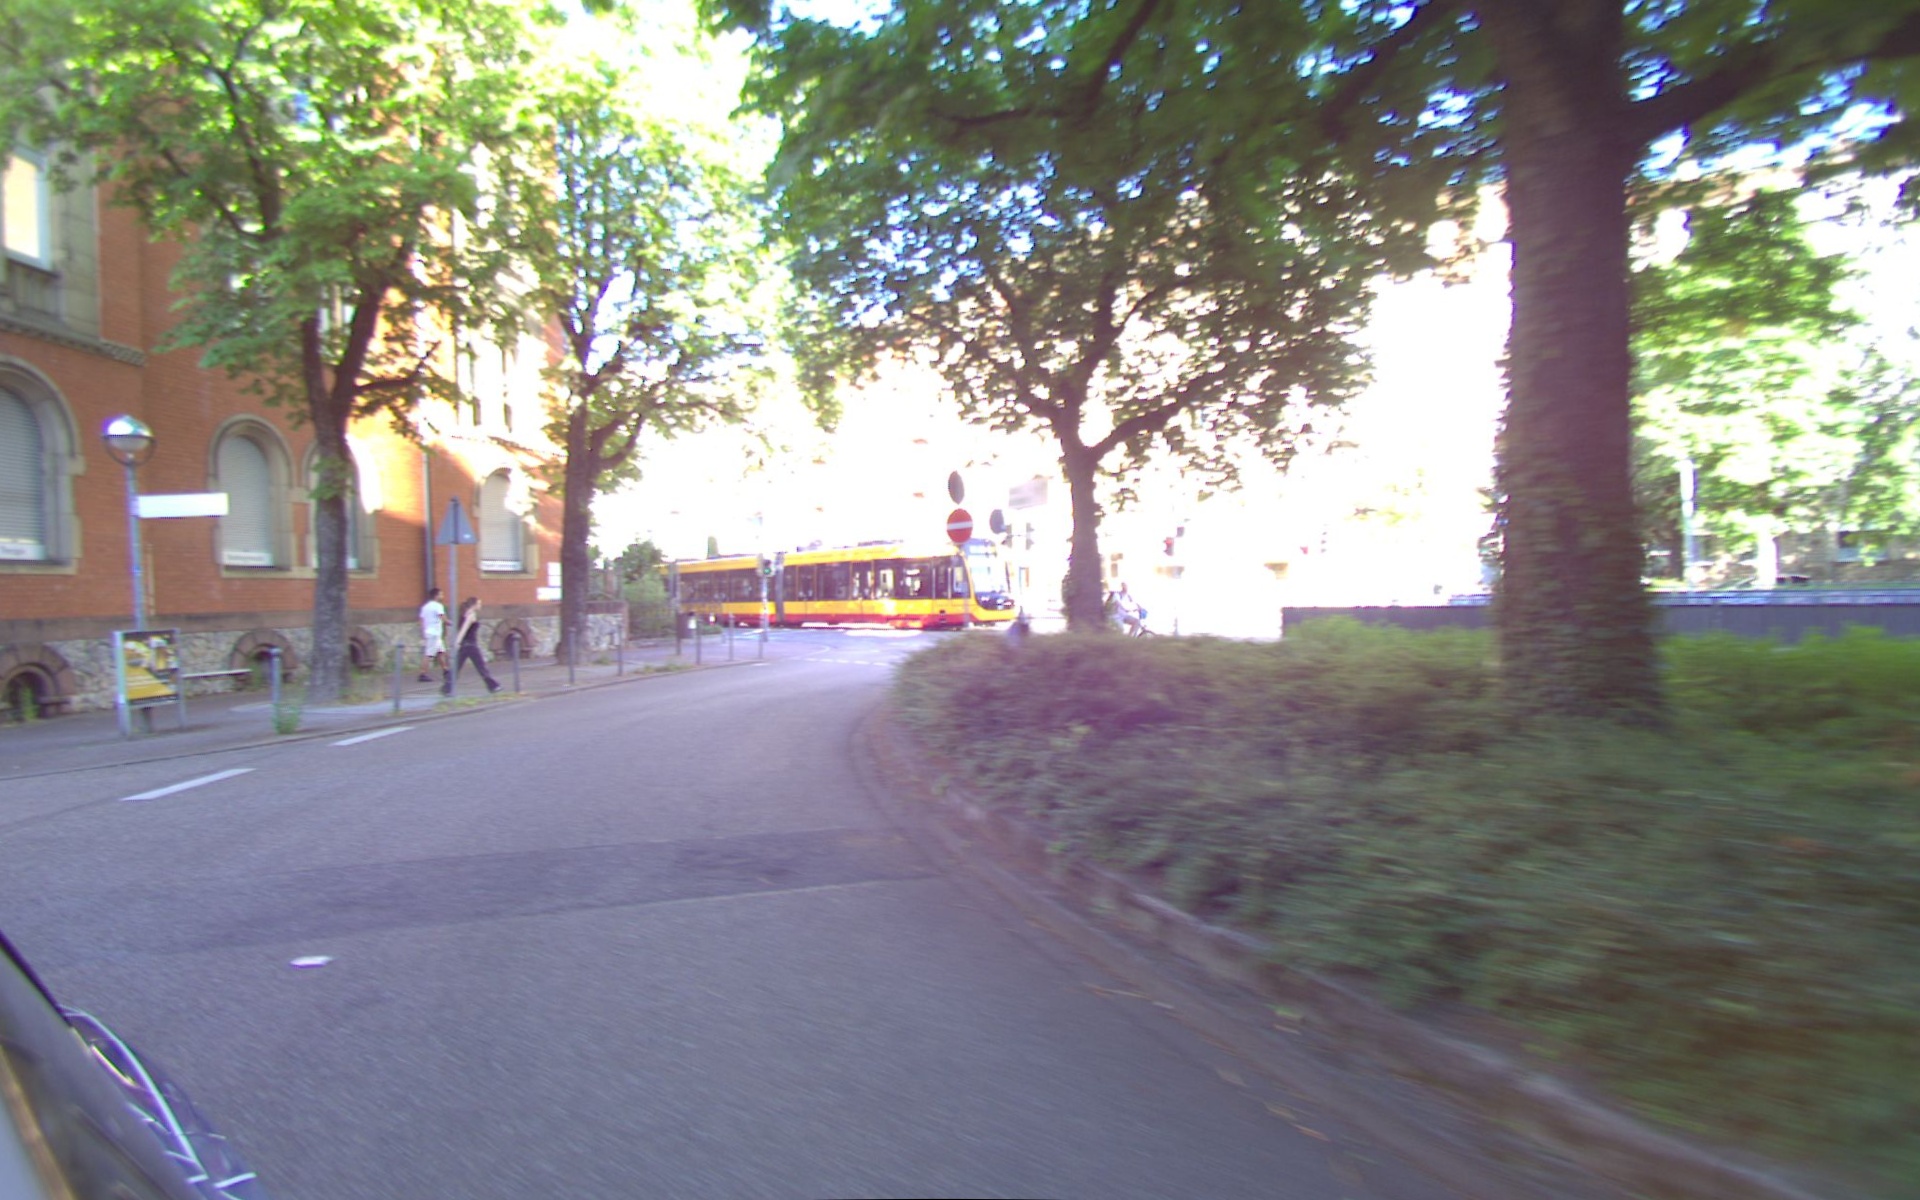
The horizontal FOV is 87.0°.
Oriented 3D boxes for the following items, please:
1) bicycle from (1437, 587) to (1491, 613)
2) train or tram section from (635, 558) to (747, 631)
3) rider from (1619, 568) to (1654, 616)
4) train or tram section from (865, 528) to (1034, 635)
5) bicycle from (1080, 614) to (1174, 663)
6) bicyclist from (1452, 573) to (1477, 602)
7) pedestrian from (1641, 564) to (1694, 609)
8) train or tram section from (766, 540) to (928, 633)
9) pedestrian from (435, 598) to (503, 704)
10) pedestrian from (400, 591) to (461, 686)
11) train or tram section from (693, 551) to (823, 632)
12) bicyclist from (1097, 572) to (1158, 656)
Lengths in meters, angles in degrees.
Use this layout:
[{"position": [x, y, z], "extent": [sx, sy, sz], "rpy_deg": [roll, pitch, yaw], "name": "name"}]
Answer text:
[{"position": [19.479, 0.012, 39.119], "extent": [1.722, 0.953, 0.653], "rpy_deg": [-2, 0, 9], "name": "bicycle"}, {"position": [-14.564, -0.296, 54.494], "extent": [2.894, 3.617, 7.200], "rpy_deg": [-3, 2, -41], "name": "train or tram section"}, {"position": [24.237, -0.295, 36.280], "extent": [0.660, 1.694, 0.823], "rpy_deg": [-1, 2, -9], "name": "rider"}, {"position": [-0.514, -0.629, 38.094], "extent": [2.877, 3.668, 6.356], "rpy_deg": [-2, 0, -41], "name": "train or tram section"}, {"position": [3.554, 0.810, 21.700], "extent": [0.758, 0.965, 1.986], "rpy_deg": [-2, 0, -38], "name": "bicycle"}, {"position": [19.486, -0.478, 39.113], "extent": [0.669, 1.062, 0.611], "rpy_deg": [-2, 0, 8], "name": "bicyclist"}, {"position": [31.315, -0.578, 44.821], "extent": [1.478, 1.926, 1.256], "rpy_deg": [-2, 0, 11], "name": "pedestrian"}, {"position": [-4.987, -0.501, 43.309], "extent": [2.877, 3.641, 7.871], "rpy_deg": [-2, 0, -41], "name": "train or tram section"}, {"position": [-7.850, 0.793, 16.184], "extent": [0.841, 1.617, 0.603], "rpy_deg": [-2, 0, -37], "name": "pedestrian"}, {"position": [-9.712, 0.689, 18.548], "extent": [0.846, 1.655, 0.872], "rpy_deg": [-2, 0, -35], "name": "pedestrian"}, {"position": [-9.890, -0.366, 49.023], "extent": [2.889, 3.626, 7.200], "rpy_deg": [-3, 1, -41], "name": "train or tram section"}, {"position": [3.576, 0.286, 21.608], "extent": [0.685, 1.729, 1.049], "rpy_deg": [-2, 0, -38], "name": "bicyclist"}]
